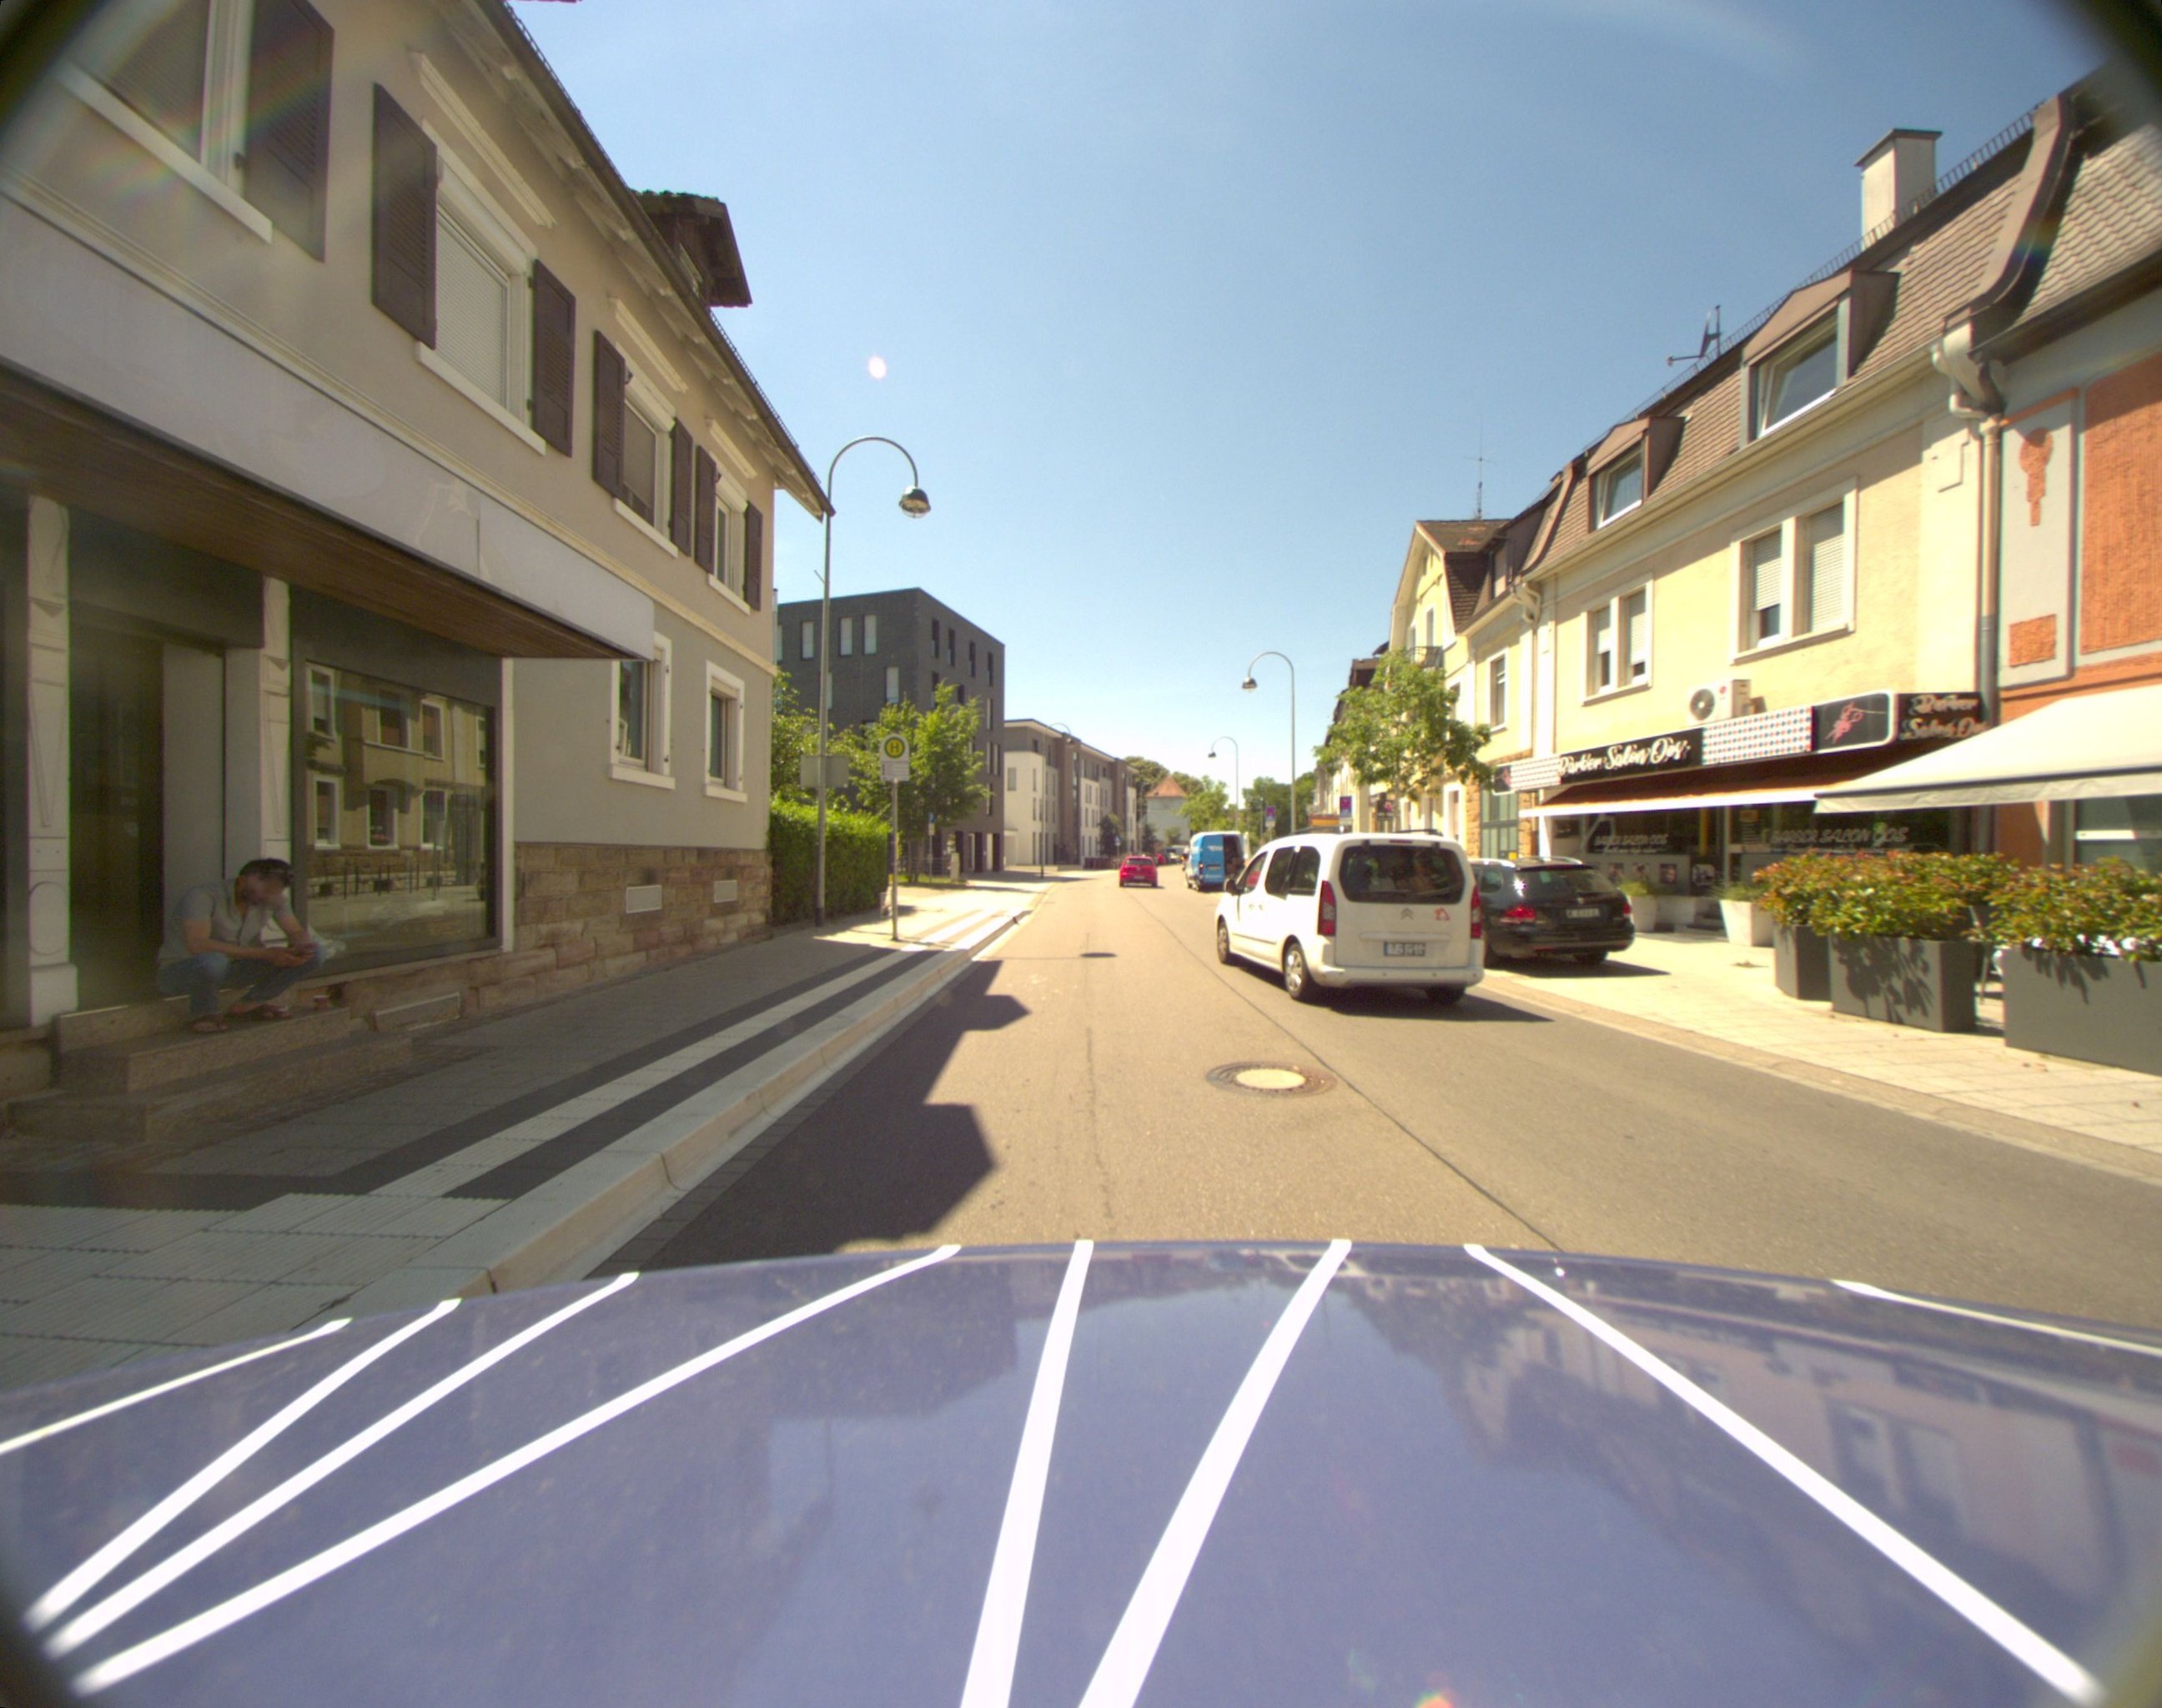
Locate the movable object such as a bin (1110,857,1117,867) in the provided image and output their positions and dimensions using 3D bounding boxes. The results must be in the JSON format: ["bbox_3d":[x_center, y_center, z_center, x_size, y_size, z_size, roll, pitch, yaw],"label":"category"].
[{"bbox_3d":[3.185,0.801,74.625,0.473,0.925,0.529,2,2,17],"label":"movable object such as a bin"}]

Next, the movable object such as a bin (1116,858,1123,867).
[{"bbox_3d":[3.769,0.818,74.507,0.473,0.925,0.529,2,2,17],"label":"movable object such as a bin"}]

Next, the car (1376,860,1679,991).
[{"bbox_3d":[6.310,0.888,11.462,1.920,1.473,4.336,-2,0,-1],"label":"car"}]

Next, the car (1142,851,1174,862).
[{"bbox_3d":[9.829,0.322,96.748,3.813,1.454,1.654,0,1,16],"label":"car"}]

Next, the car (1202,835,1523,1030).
[{"bbox_3d":[3.011,0.745,9.344,1.999,1.811,4.413,1,0,-4],"label":"car"}]

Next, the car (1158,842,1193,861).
[{"bbox_3d":[13.807,-0.416,110.886,4.860,2.720,1.853,1,1,17],"label":"car"}]

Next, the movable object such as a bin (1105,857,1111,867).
[{"bbox_3d":[2.681,0.779,74.775,0.473,0.925,0.529,2,2,17],"label":"movable object such as a bin"}]

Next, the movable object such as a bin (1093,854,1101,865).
[{"bbox_3d":[1.637,0.567,77.314,0.646,1.054,0.626,3,2,18],"label":"movable object such as a bin"}]

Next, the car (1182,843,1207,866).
[{"bbox_3d":[11.959,0.055,80.085,2.159,2.348,5.253,2,0,13],"label":"car"}]

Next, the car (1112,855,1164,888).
[{"bbox_3d":[2.628,0.784,36.175,1.921,1.418,3.978,-1,0,-4],"label":"car"}]

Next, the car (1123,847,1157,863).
[{"bbox_3d":[7.076,0.128,91.349,3.813,1.776,1.842,1,1,15],"label":"car"}]

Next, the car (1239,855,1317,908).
[{"bbox_3d":[6.326,0.850,24.773,1.564,1.512,3.514,-1,1,-1],"label":"car"}]

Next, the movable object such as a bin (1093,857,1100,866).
[{"bbox_3d":[1.544,0.755,75.057,0.473,0.925,0.529,2,2,17],"label":"movable object such as a bin"}]

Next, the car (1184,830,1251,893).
[{"bbox_3d":[5.862,0.305,33.291,2.097,2.483,5.503,-2,0,2],"label":"car"}]

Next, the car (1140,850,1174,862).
[{"bbox_3d":[10.054,0.242,100.438,4.353,1.542,1.654,1,1,14],"label":"car"}]

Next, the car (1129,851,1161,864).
[{"bbox_3d":[7.983,0.381,94.618,3.612,1.454,1.619,2,1,16],"label":"car"}]

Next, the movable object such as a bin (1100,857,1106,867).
[{"bbox_3d":[2.179,0.765,74.909,0.473,0.925,0.529,2,2,17],"label":"movable object such as a bin"}]

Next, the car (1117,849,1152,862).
[{"bbox_3d":[6.304,0.170,89.193,3.813,1.474,1.780,1,1,15],"label":"car"}]

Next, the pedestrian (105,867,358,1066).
[{"bbox_3d":[-4.693,0.583,4.252,0.591,0.993,0.724,1,0,-2],"label":"pedestrian"}]
